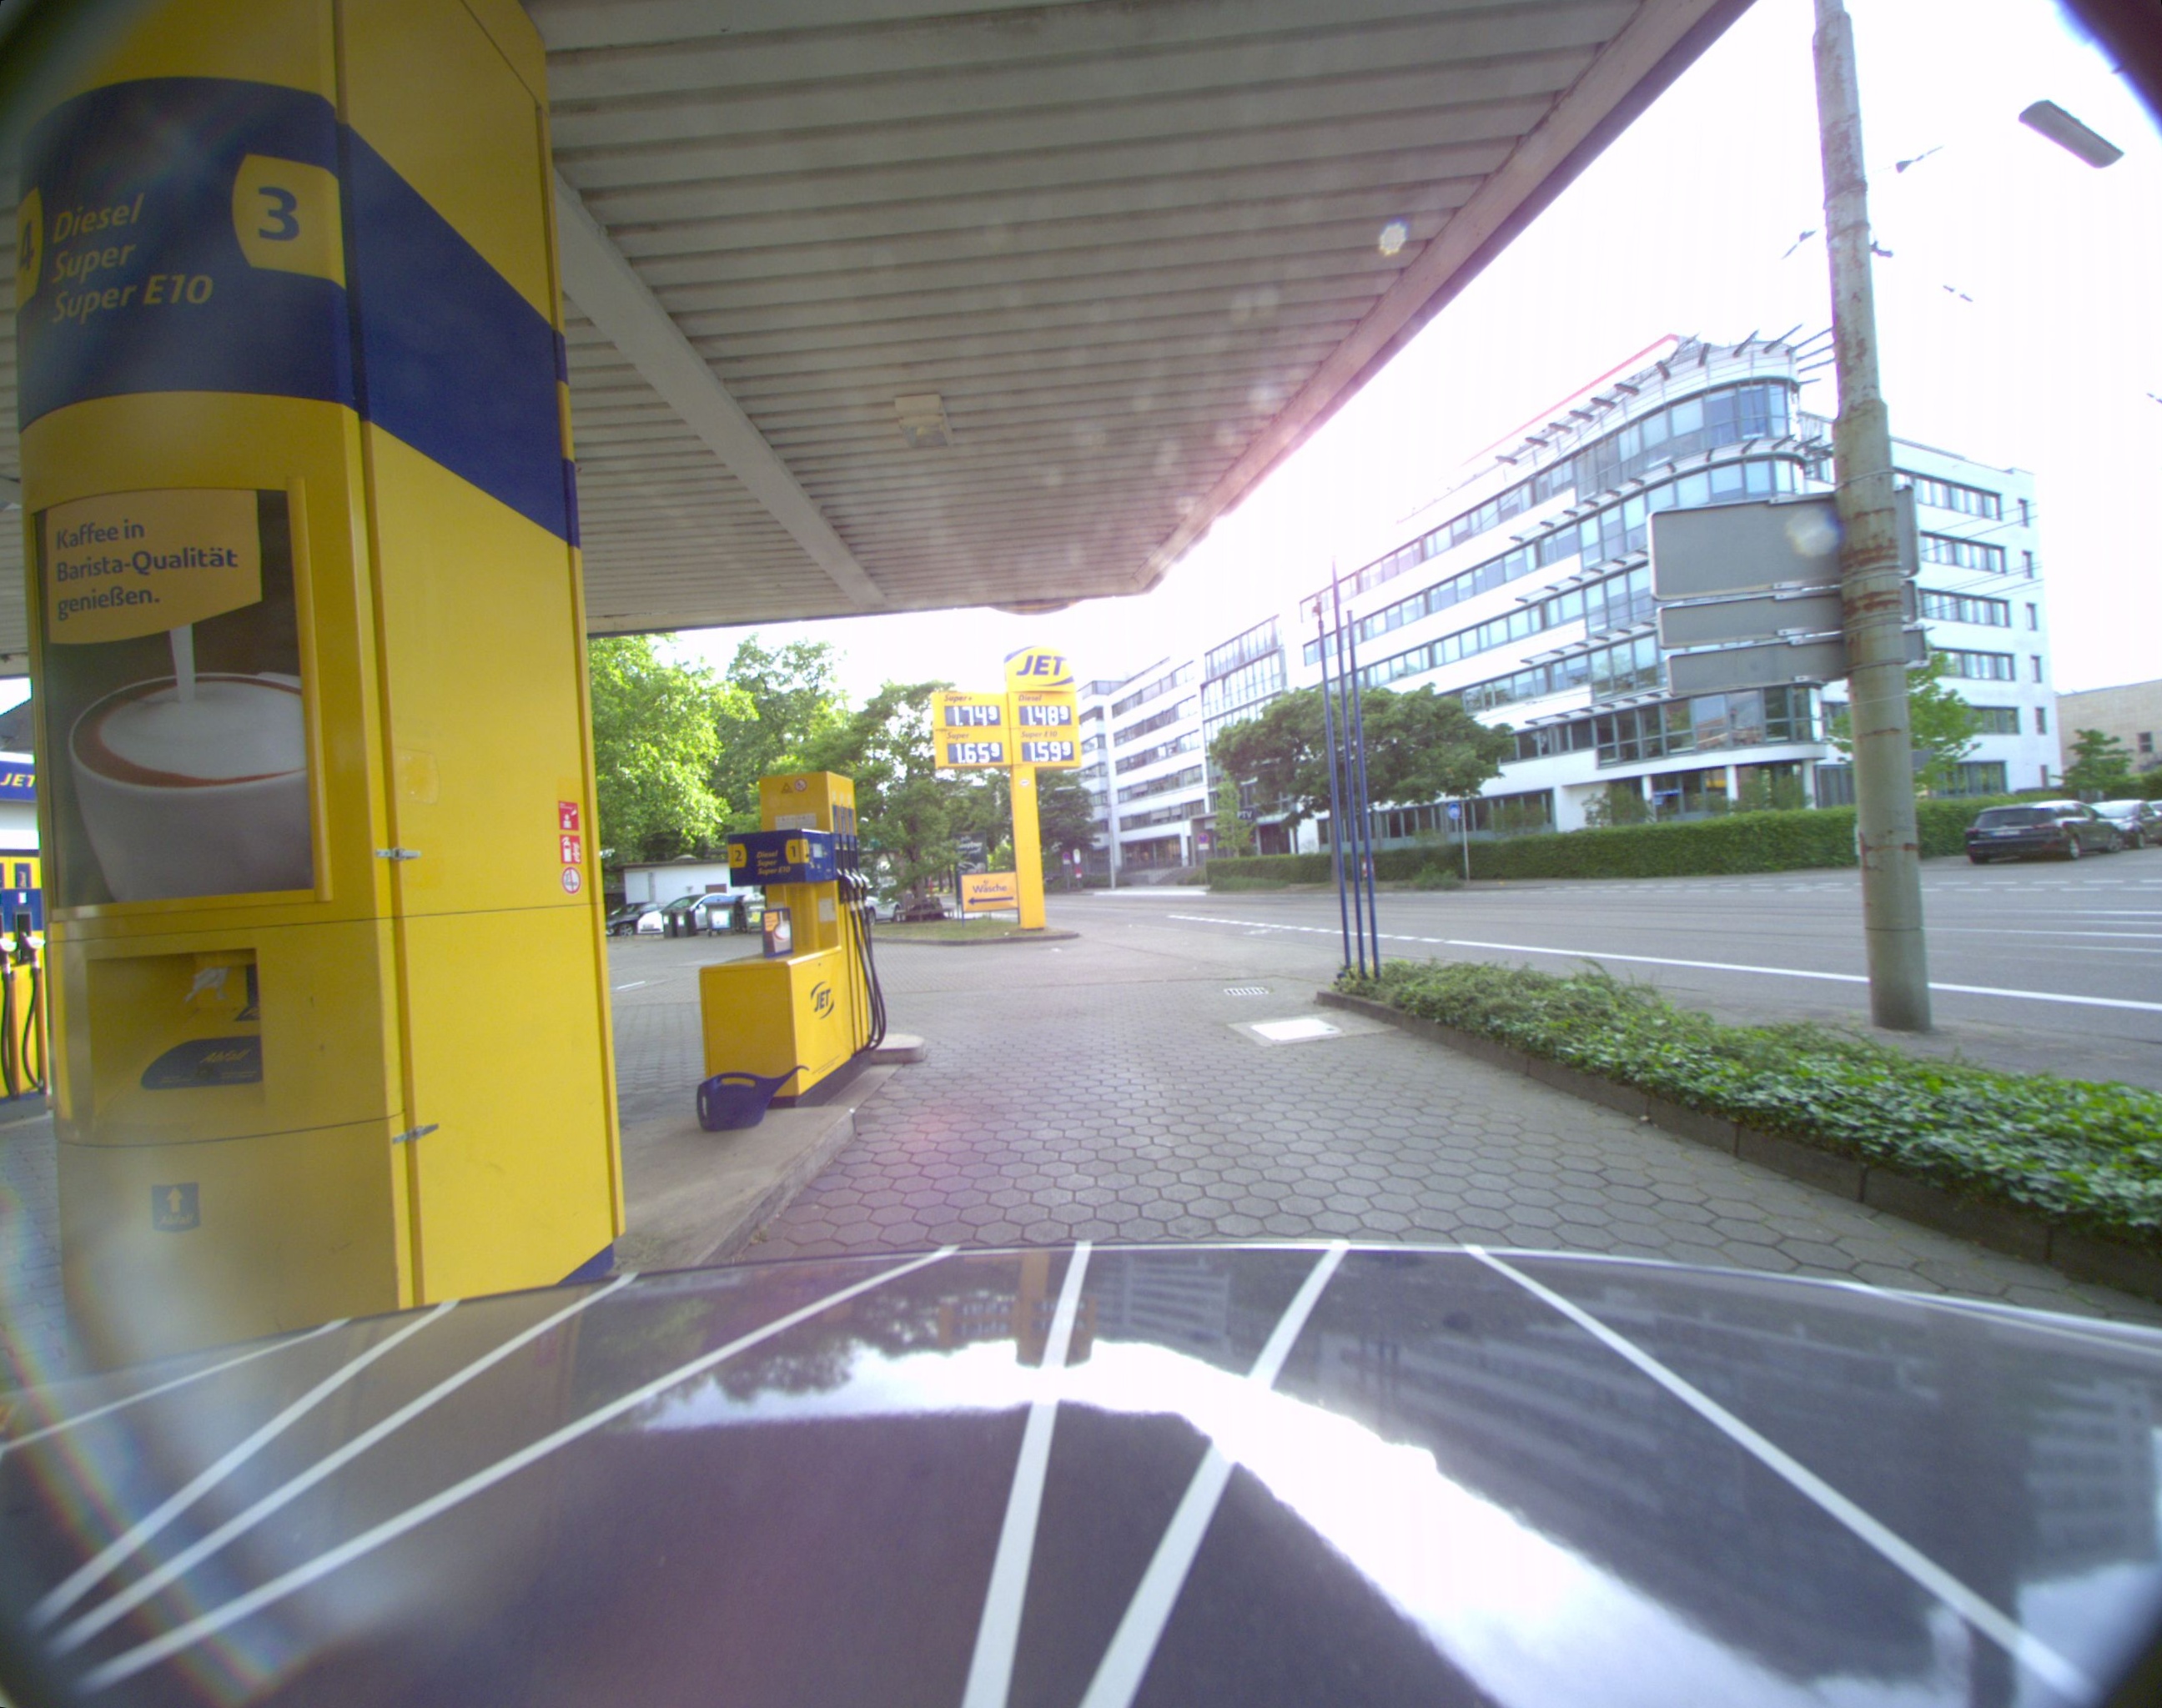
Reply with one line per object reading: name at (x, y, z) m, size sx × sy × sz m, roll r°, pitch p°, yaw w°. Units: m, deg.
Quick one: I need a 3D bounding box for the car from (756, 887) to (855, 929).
car at (-11.658, 2.261, 32.493) m, size 1.771 × 1.591 × 4.400 m, roll -4°, pitch -4°, yaw 13°

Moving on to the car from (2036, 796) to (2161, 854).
car at (32.542, -0.941, 24.095) m, size 4.296 × 1.530 × 1.945 m, roll -4°, pitch -1°, yaw -27°

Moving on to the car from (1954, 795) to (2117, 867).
car at (27.271, -0.665, 21.692) m, size 4.296 × 1.681 × 2.010 m, roll -4°, pitch -1°, yaw -27°

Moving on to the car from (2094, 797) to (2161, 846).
car at (37.125, -1.196, 26.147) m, size 4.296 × 1.509 × 1.945 m, roll -4°, pitch -1°, yaw -27°

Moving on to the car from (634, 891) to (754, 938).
car at (-15.296, 2.358, 30.314) m, size 1.771 × 1.591 × 4.398 m, roll -2°, pitch -1°, yaw 14°

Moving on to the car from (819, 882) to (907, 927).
car at (-8.640, 1.996, 30.503) m, size 1.772 × 1.591 × 4.398 m, roll -4°, pitch -4°, yaw 6°

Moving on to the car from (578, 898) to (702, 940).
car at (-17.798, 2.583, 30.908) m, size 1.771 × 1.367 × 4.398 m, roll -2°, pitch -1°, yaw 14°
